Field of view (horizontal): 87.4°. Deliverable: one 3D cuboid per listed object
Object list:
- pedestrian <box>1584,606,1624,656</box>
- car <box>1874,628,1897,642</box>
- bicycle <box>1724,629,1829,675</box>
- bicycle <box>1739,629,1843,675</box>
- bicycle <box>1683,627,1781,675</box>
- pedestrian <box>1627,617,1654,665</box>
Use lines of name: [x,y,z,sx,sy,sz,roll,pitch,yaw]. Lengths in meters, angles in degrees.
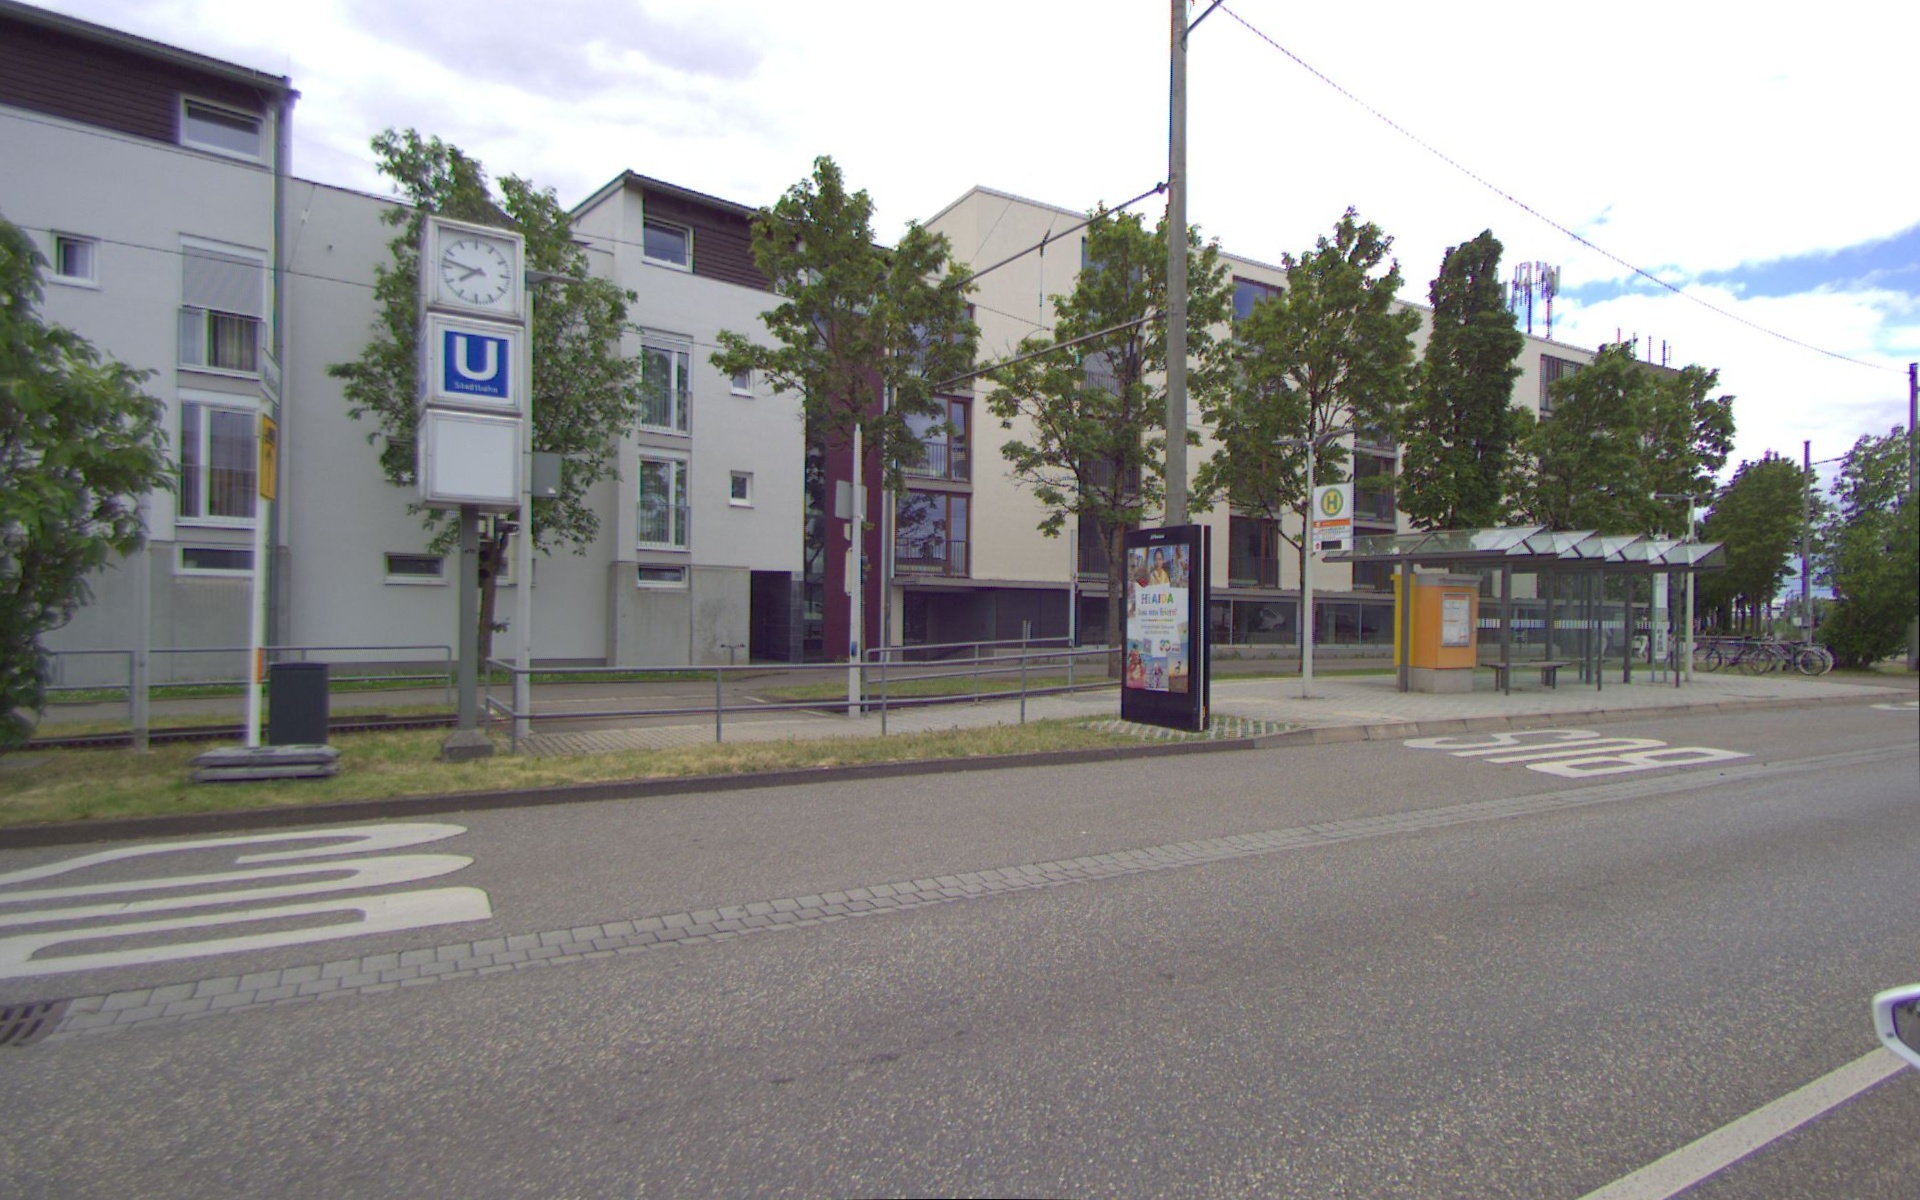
pedestrian: [23.999,1.167,37.444,0.896,1.788,0.826,2,2,-29]
car: [102.961,3.852,111.768,1.878,1.506,3.978,0,-1,42]
bicycle: [21.905,1.375,26.995,0.624,1.121,2.090,1,0,-28]
bicycle: [22.580,1.399,27.343,0.623,1.121,2.090,1,0,-28]
bicycle: [19.942,1.297,26.001,0.580,1.121,1.920,1,0,-28]
pedestrian: [29.780,1.787,43.971,0.758,2.041,0.885,4,2,41]
